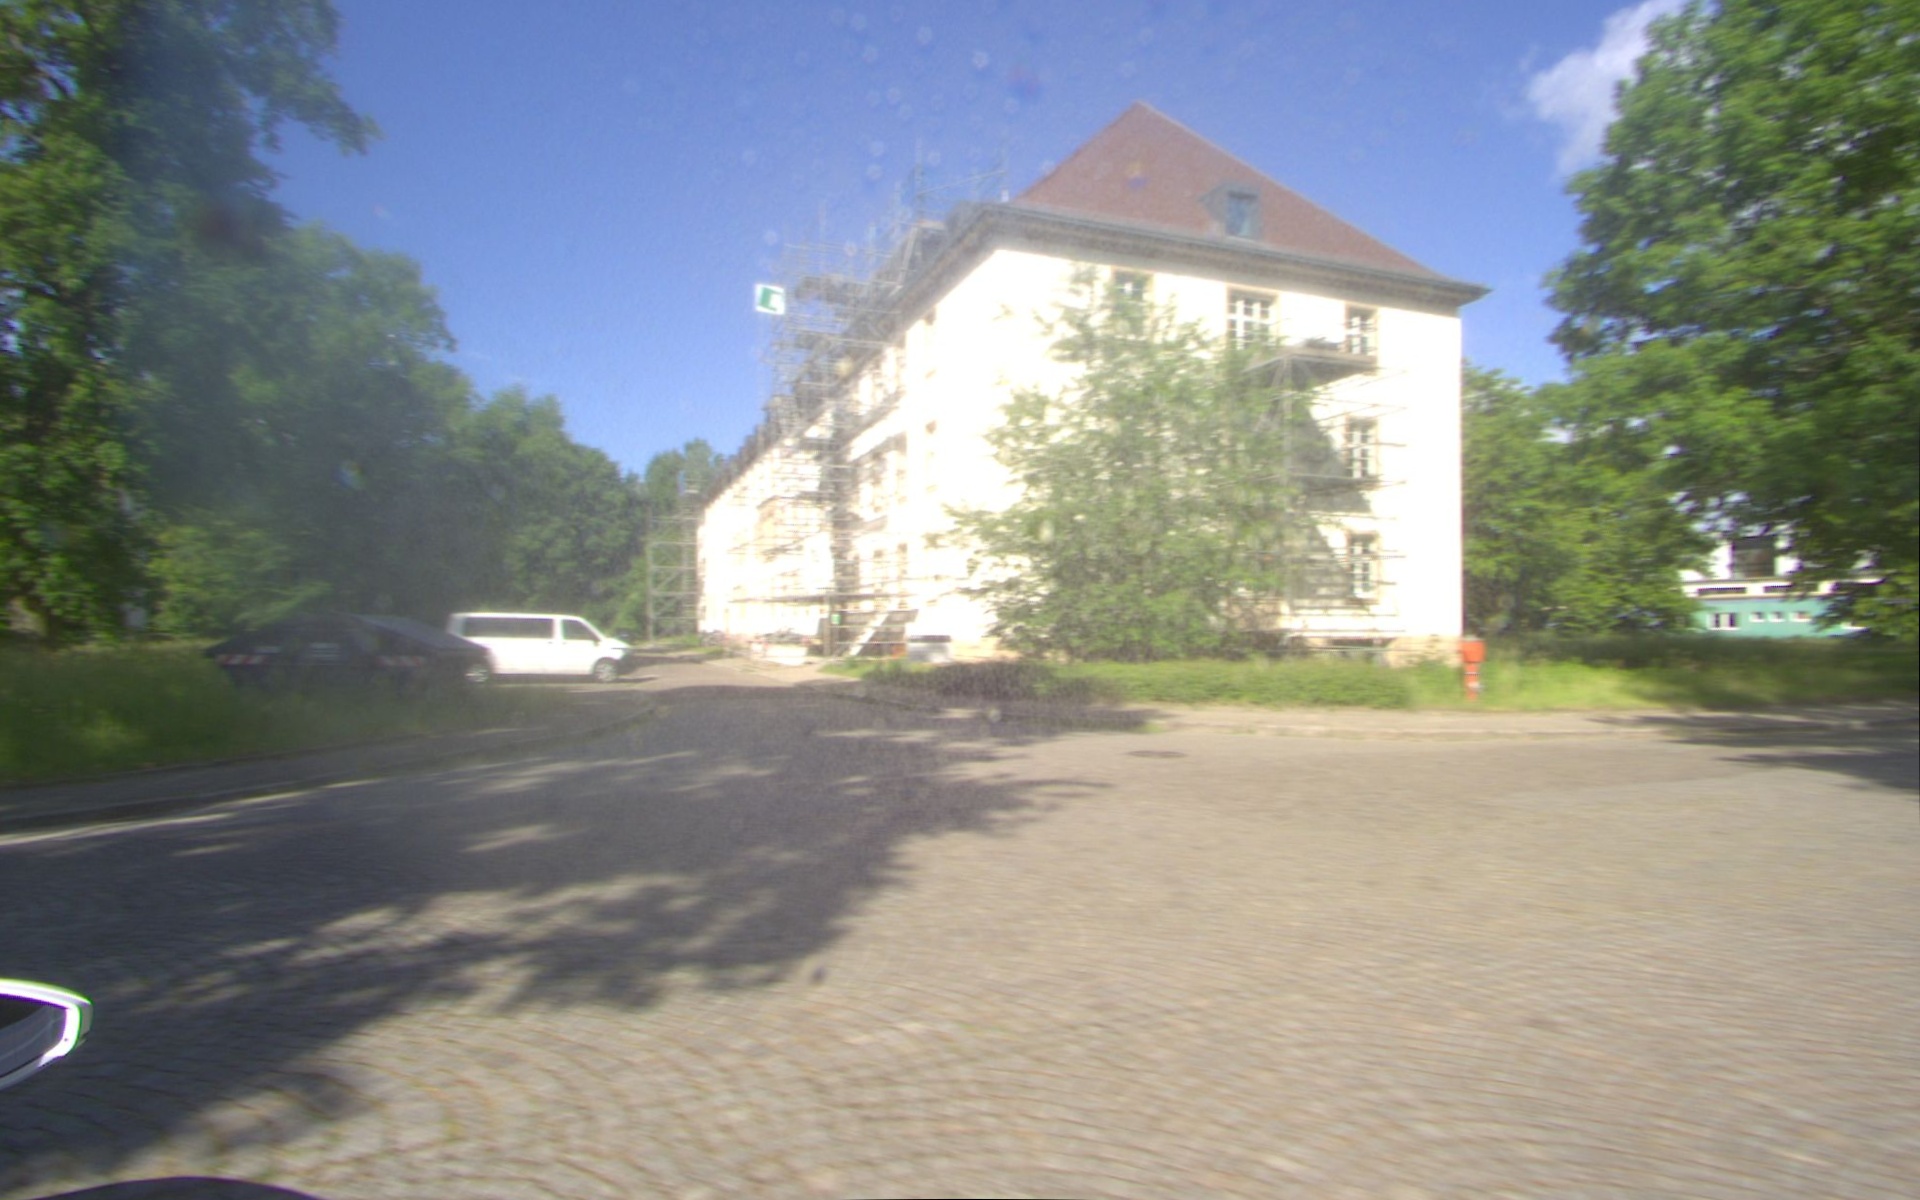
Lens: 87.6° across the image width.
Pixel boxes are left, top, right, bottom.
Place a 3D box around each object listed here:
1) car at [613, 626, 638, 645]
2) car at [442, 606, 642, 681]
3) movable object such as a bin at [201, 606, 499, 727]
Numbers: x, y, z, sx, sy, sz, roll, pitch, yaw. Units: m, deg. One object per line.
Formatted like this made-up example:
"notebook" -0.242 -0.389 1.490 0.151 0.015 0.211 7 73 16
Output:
"car" -30.961 3.244 92.666 1.944 1.689 4.075 0 -1 -22
"car" -12.015 1.245 29.064 5.165 2.042 1.945 1 -1 -22
"movable object such as a bin" -9.577 1.019 15.987 3.507 1.767 2.025 -1 -1 -3
